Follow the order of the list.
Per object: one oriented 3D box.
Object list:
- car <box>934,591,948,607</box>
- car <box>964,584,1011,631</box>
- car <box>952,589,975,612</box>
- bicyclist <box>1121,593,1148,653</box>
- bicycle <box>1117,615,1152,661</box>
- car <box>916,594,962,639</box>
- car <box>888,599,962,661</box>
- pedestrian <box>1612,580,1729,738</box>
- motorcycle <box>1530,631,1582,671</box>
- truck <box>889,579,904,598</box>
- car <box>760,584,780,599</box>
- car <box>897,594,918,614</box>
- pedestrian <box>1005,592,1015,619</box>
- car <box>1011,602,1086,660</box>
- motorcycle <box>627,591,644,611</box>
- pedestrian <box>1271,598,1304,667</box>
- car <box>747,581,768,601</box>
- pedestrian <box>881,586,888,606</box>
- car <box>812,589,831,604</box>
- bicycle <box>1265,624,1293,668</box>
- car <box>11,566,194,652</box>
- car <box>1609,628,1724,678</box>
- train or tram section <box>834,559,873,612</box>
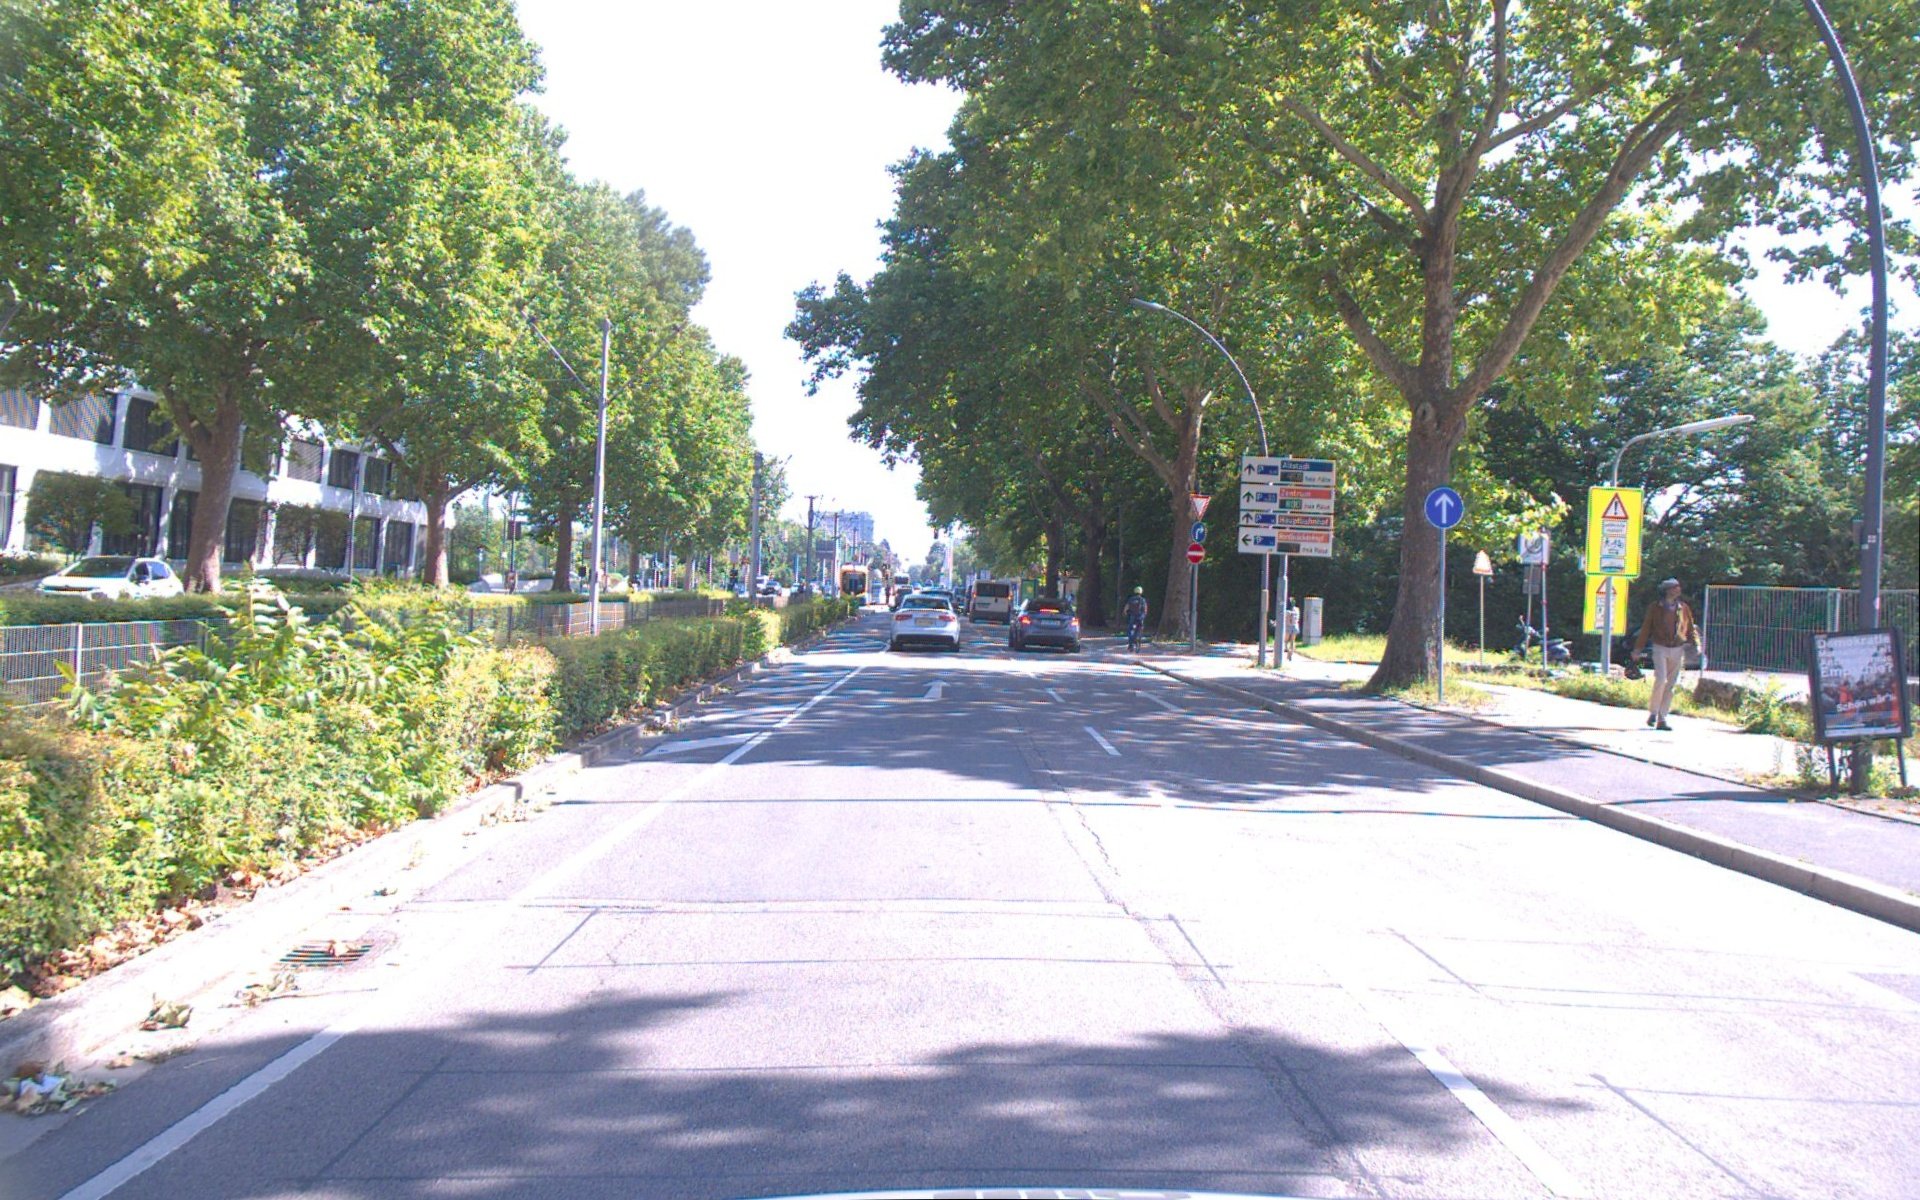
[{"bbox_3d":[-2.416,-0.181,209.940,1.694,1.934,3.999,3,0,-1],"label":"car"},{"bbox_3d":[1.405,0.370,85.747,2.185,2.250,4.161,3,0,-1],"label":"car"},{"bbox_3d":[0.318,0.036,156.464,2.030,2.034,4.057,3,0,-1],"label":"car"},{"bbox_3d":[4.952,0.642,46.992,0.621,1.676,0.979,0,2,-2],"label":"bicyclist"},{"bbox_3d":[4.945,1.050,46.929,0.700,1.168,2.178,0,2,-2],"label":"bicycle"},{"bbox_3d":[-0.835,0.632,65.385,1.694,1.633,3.884,3,0,-1],"label":"car"},{"bbox_3d":[-0.892,0.744,42.828,1.748,1.445,3.884,3,0,-1],"label":"car"},{"bbox_3d":[9.083,0.731,21.187,0.920,1.925,1.151,3,0,-1],"label":"pedestrian"},{"bbox_3d":[15.842,1.362,43.977,1.196,0.984,0.470,3,0,-8],"label":"motorcycle"},{"bbox_3d":[-9.900,-1.825,259.493,1.953,2.838,8.517,3,0,0],"label":"truck"},{"bbox_3d":[-22.503,-1.038,195.714,1.793,1.652,4.895,3,0,-1],"label":"car"},{"bbox_3d":[-4.636,0.352,145.987,1.694,1.659,3.999,3,0,-1],"label":"car"},{"bbox_3d":[3.808,0.402,125.263,0.622,1.980,0.719,3,0,-1],"label":"pedestrian"},{"bbox_3d":[2.414,0.820,45.880,1.746,1.445,3.999,3,0,-1],"label":"car"},{"bbox_3d":[-20.247,0.039,103.203,0.619,1.195,1.999,3,0,-1],"label":"motorcycle"},{"bbox_3d":[8.835,0.871,44.662,0.619,1.816,0.874,3,0,-1],"label":"pedestrian"},{"bbox_3d":[-25.215,-1.110,205.811,2.071,2.424,4.000,2,0,-1],"label":"car"},{"bbox_3d":[-7.343,-0.416,160.798,0.611,1.951,0.689,3,0,-1],"label":"pedestrian"},{"bbox_3d":[-16.830,-0.425,201.599,1.953,1.764,4.000,3,0,0],"label":"car"},{"bbox_3d":[8.591,1.225,44.562,0.342,1.100,1.698,3,0,-1],"label":"bicycle"},{"bbox_3d":[-17.802,0.170,34.553,1.721,1.597,4.018,3,0,-1],"label":"car"},{"bbox_3d":[23.310,1.746,54.554,3.954,1.479,1.663,3,0,-36],"label":"car"},{"bbox_3d":[-8.716,-1.148,136.415,2.563,4.085,7.748,3,0,0],"label":"train or tram section"}]
